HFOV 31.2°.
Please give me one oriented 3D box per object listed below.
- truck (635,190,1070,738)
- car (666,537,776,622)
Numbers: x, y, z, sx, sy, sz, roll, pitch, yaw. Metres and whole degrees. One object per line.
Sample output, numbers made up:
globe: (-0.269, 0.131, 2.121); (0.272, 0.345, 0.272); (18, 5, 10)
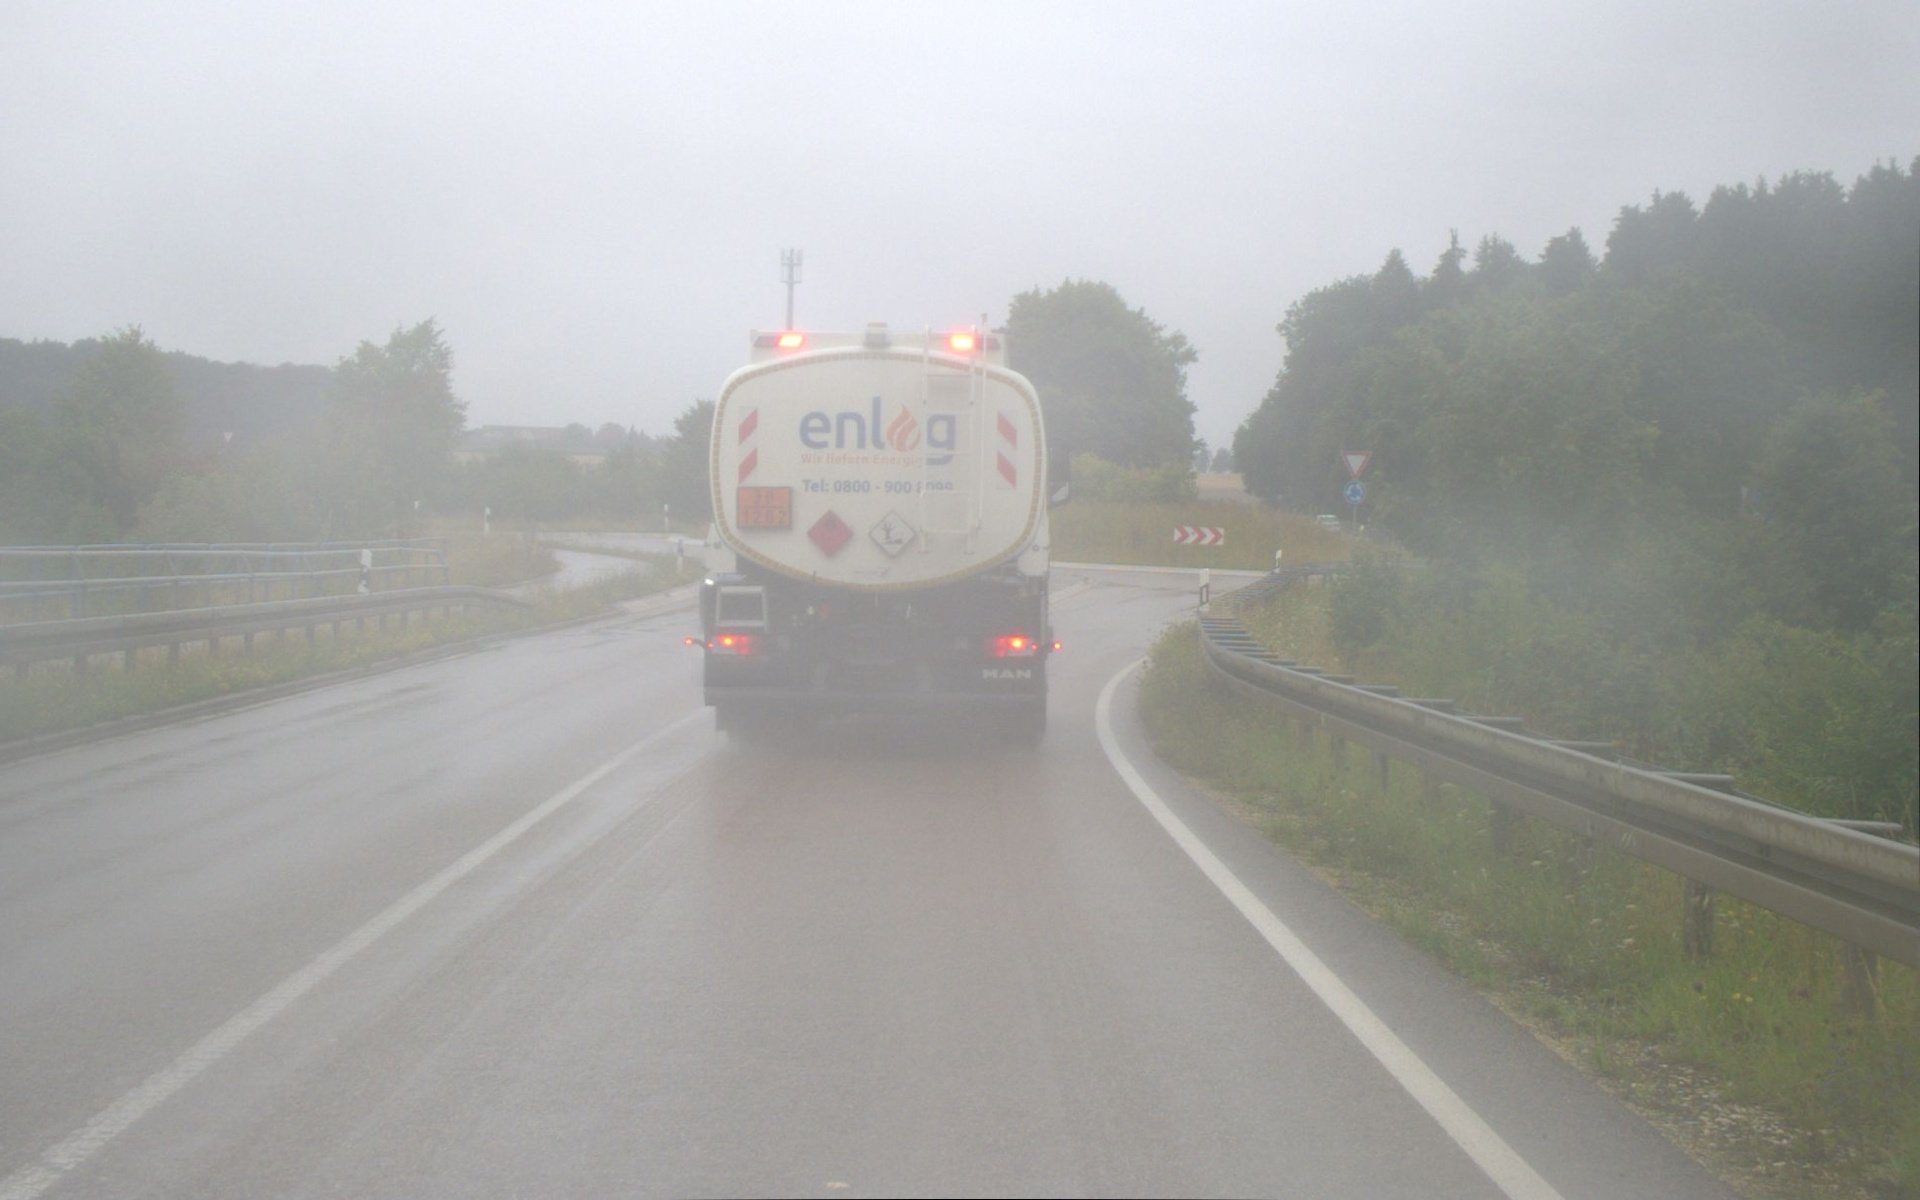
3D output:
truck: (-0.720, -1.077, 28.646); (3.039, 3.838, 8.823); (1, 2, 1)
car: (-4.514, -0.409, 65.292); (1.780, 1.521, 4.169); (1, 1, 0)
